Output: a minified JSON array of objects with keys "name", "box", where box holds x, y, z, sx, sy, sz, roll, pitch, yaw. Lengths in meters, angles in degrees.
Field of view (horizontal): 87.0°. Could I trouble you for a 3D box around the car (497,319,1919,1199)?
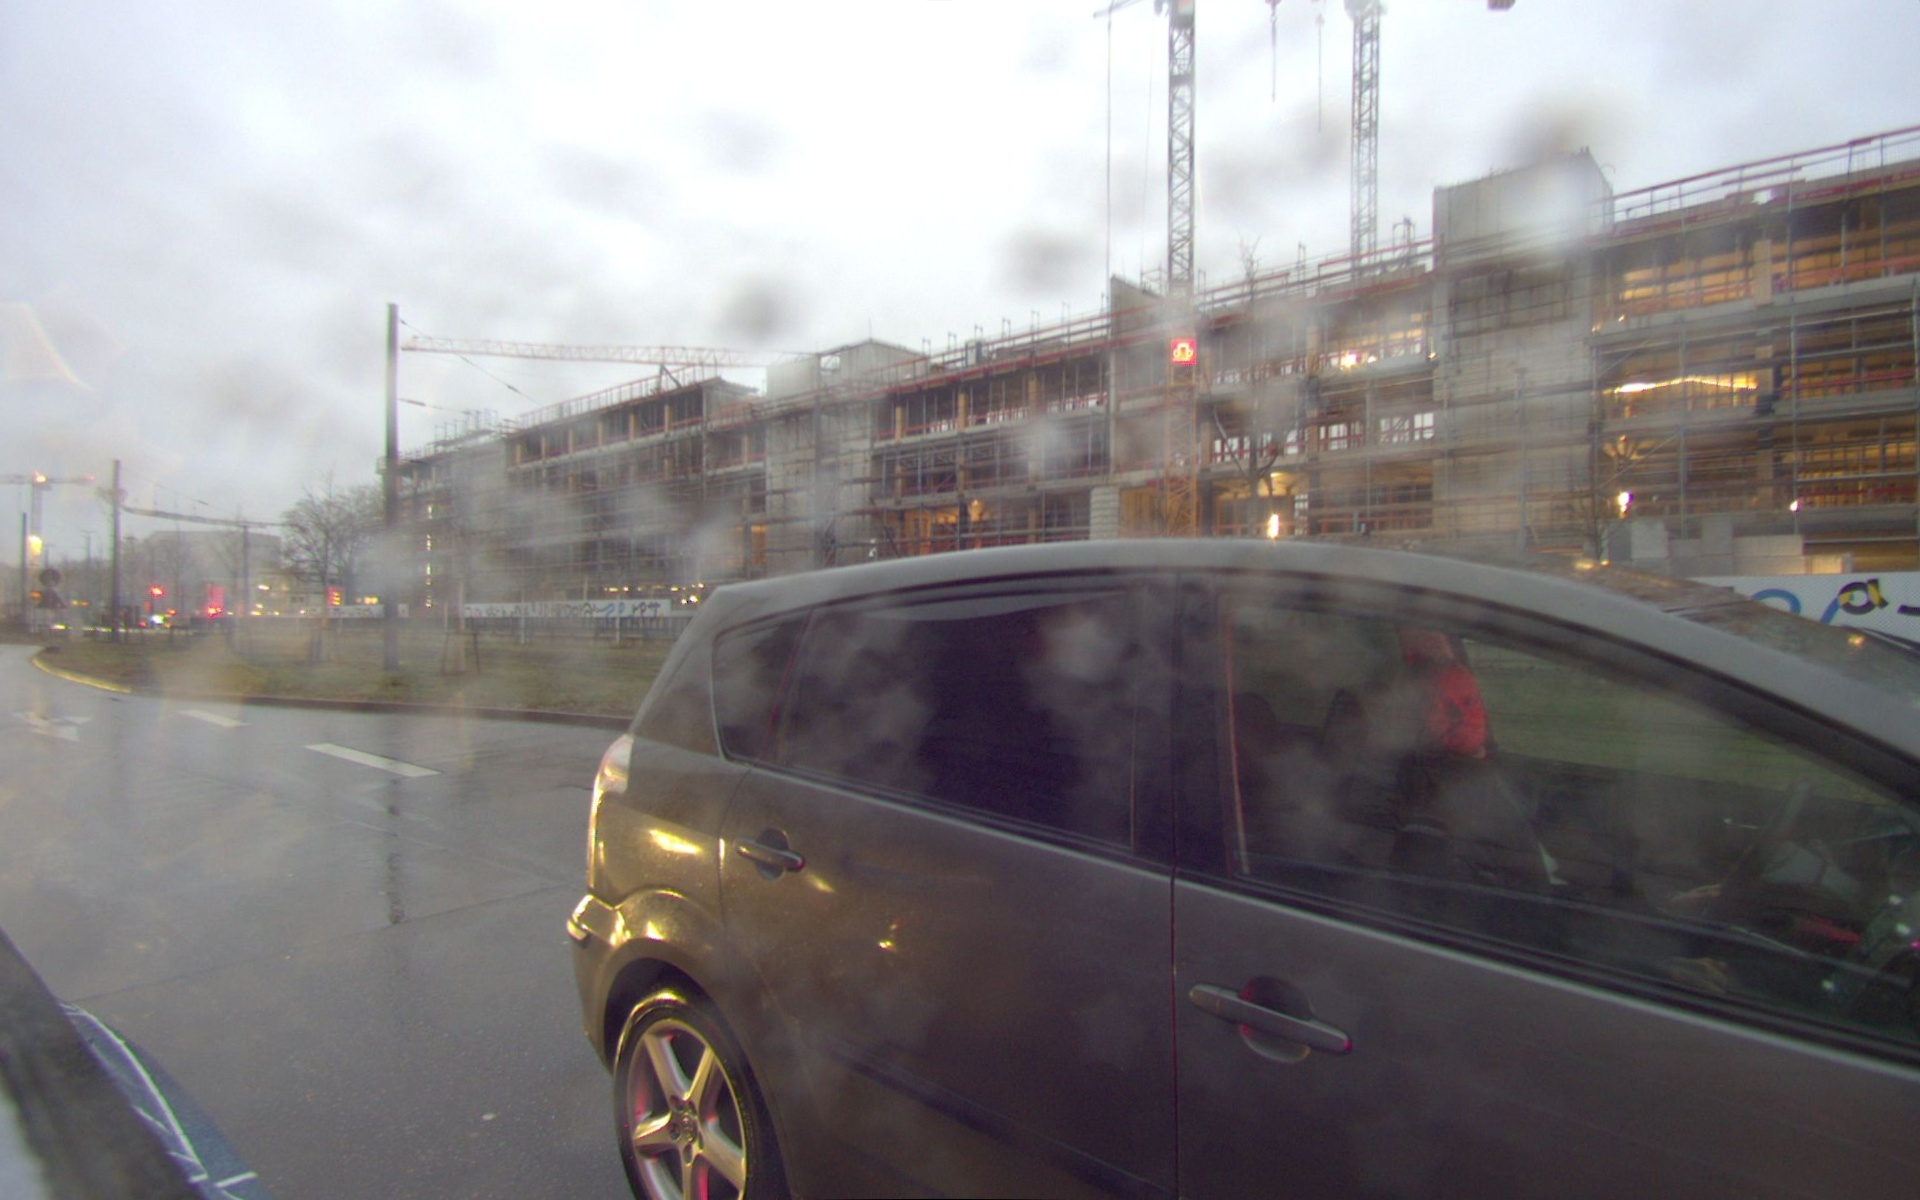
[{"name":"car","box":[1.007,0.594,1.896,4.131,1.659,1.793,-1,-1,39]}]
